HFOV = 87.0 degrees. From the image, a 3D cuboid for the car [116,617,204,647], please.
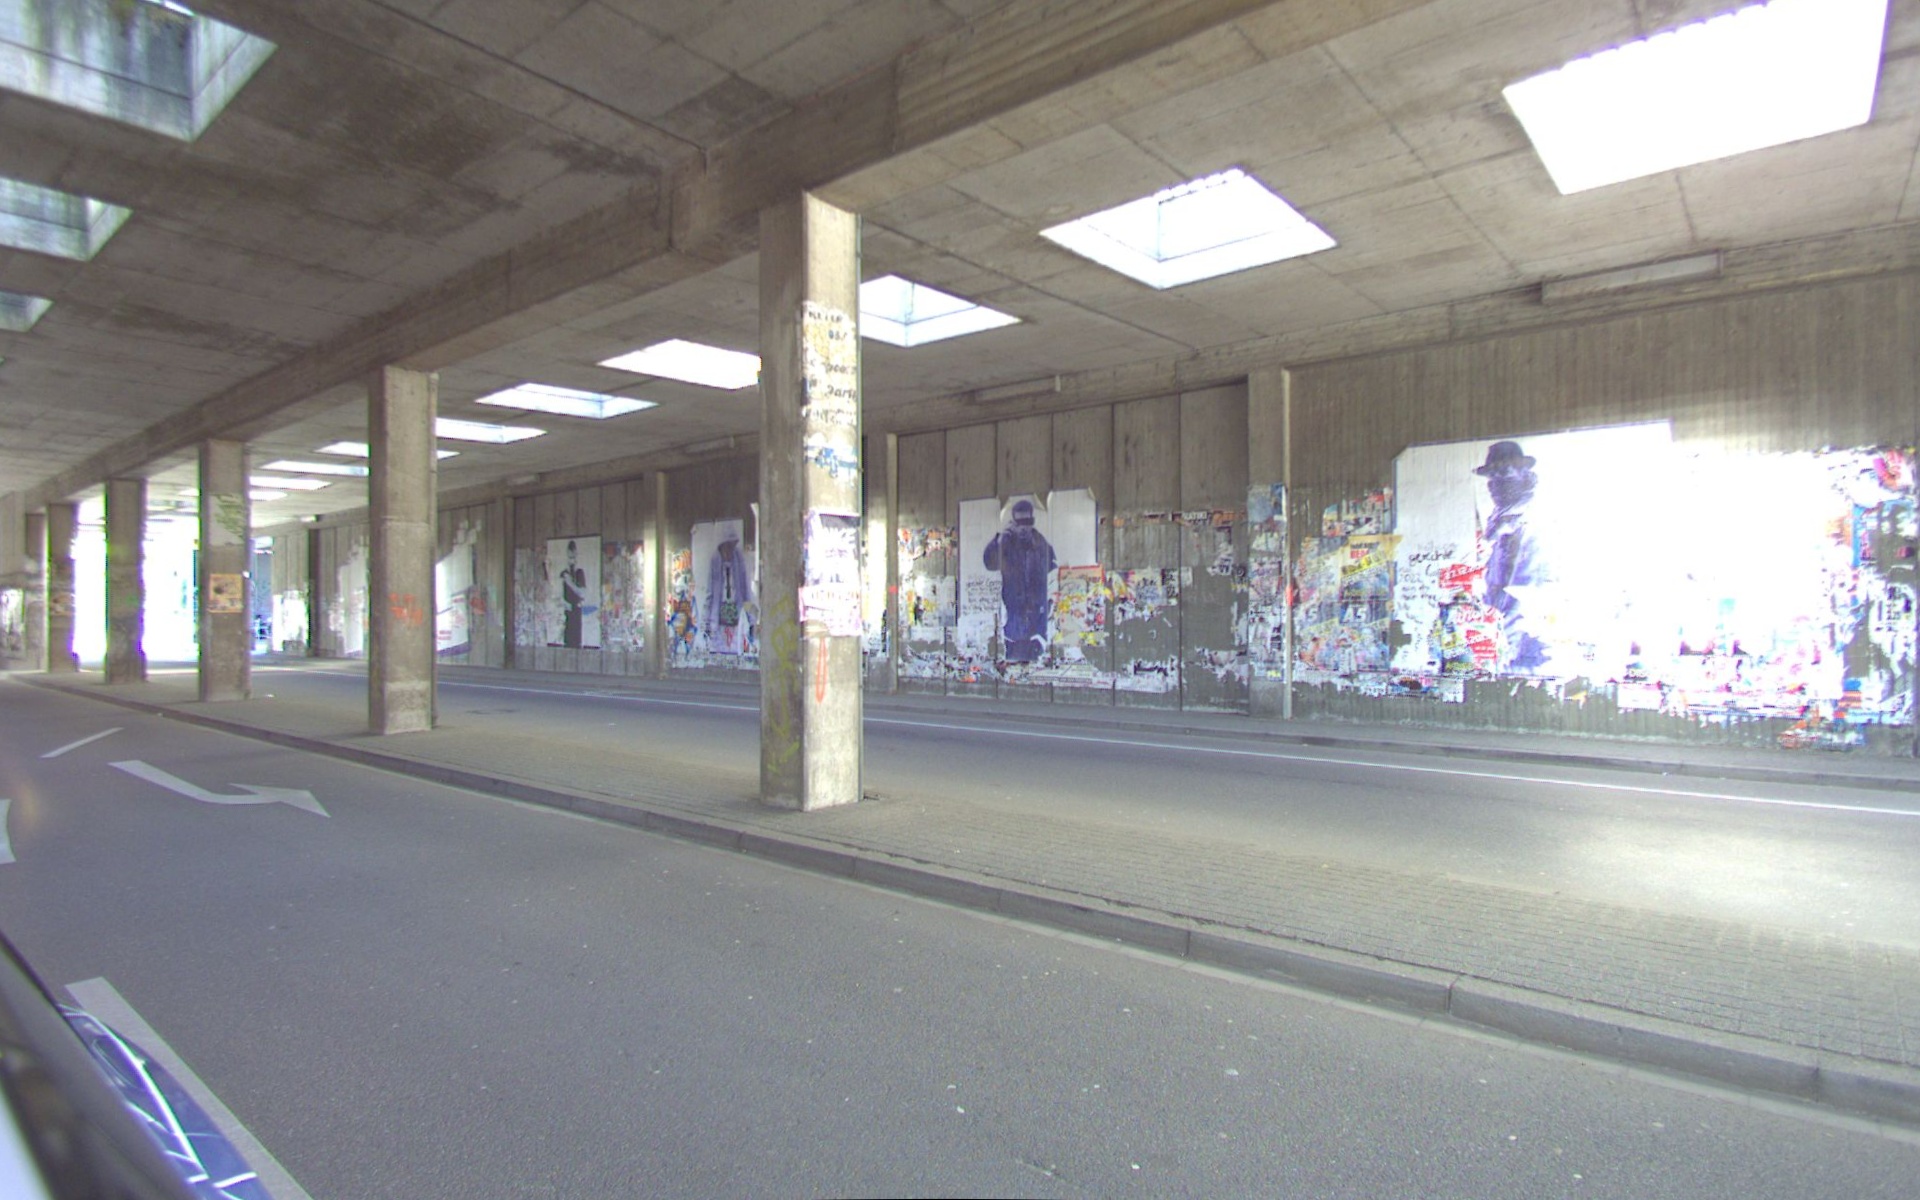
[{"bbox_3d":[-47.401,1.869,59.981,1.728,1.618,3.824,-1,1,41],"label":"car"}]
